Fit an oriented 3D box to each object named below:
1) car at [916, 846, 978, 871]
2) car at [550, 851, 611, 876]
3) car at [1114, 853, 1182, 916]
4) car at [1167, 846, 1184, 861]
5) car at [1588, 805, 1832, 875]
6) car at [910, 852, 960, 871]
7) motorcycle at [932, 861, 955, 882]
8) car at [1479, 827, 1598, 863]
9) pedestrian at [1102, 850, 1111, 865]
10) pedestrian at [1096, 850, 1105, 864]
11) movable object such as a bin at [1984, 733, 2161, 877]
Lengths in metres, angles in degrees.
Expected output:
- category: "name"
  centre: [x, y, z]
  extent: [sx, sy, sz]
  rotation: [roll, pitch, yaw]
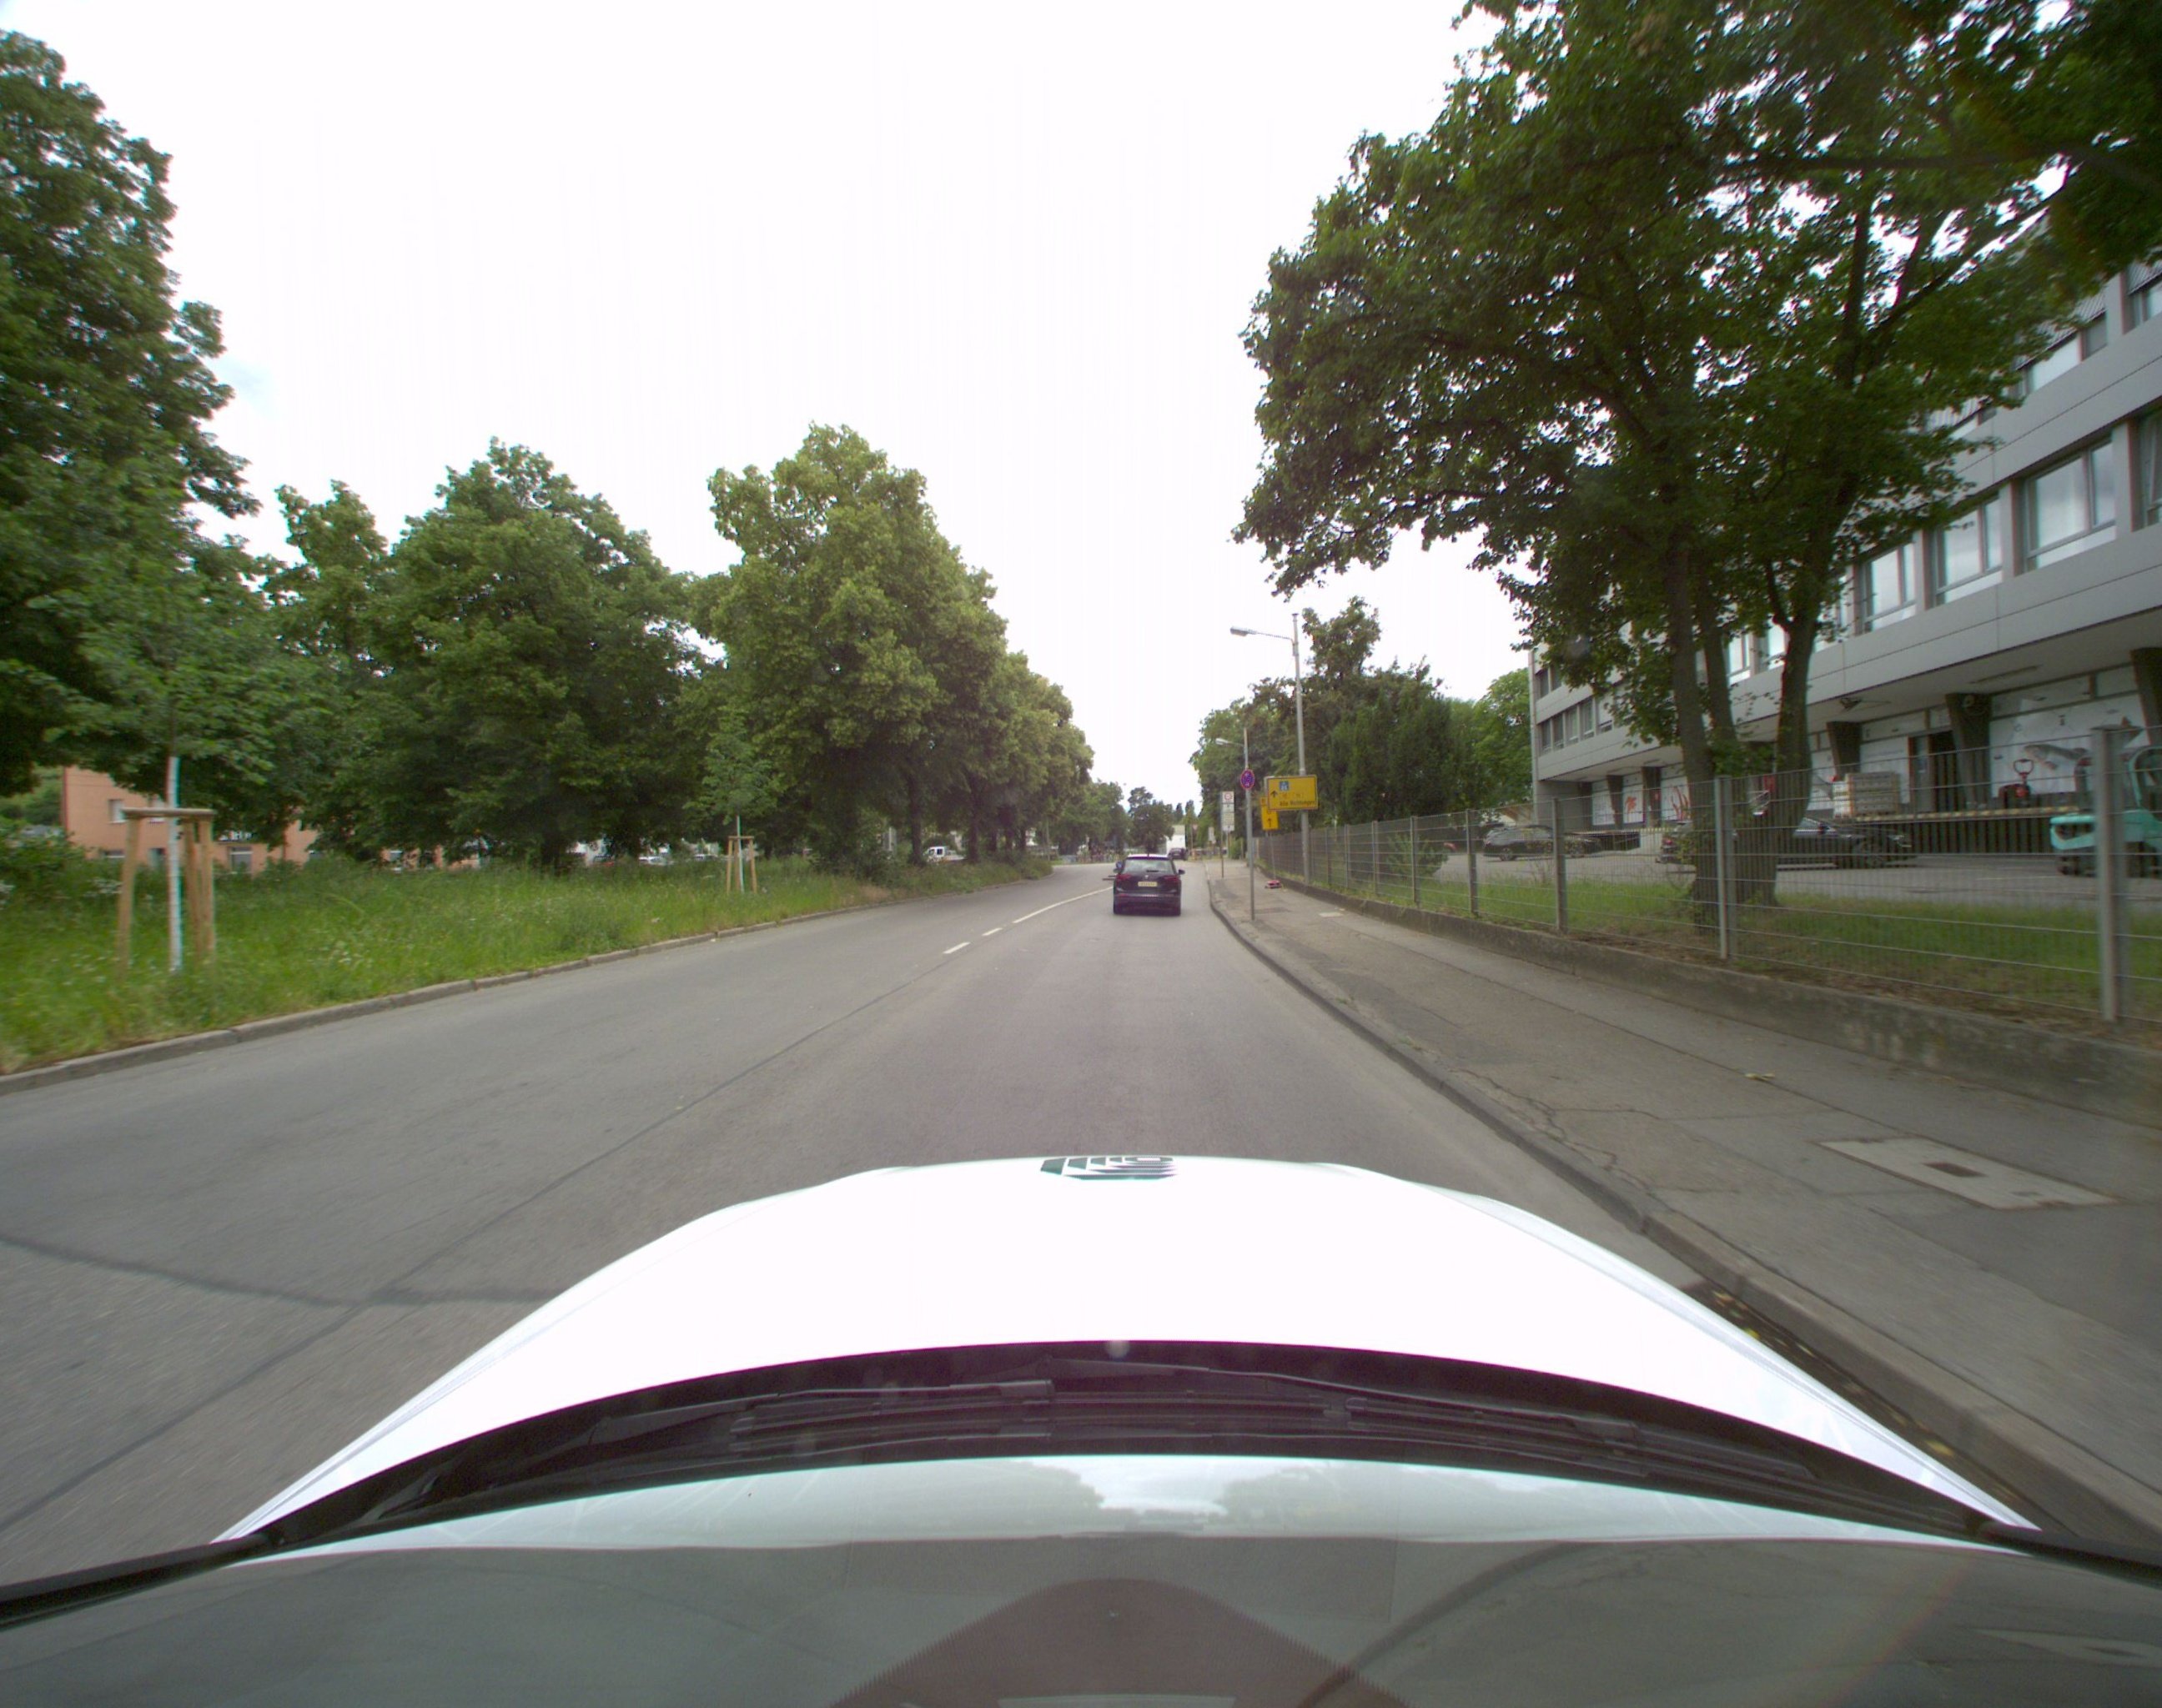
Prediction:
- category: "car"
  centre: [-14.030, 0.495, 85.547]
  extent: [6.048, 2.387, 2.395]
  rotation: [-2, 0, 1]
- category: "car"
  centre: [-28.957, 0.539, 47.212]
  extent: [1.551, 1.349, 2.882]
  rotation: [-2, 0, 4]
- category: "car"
  centre: [1.825, 0.788, 22.750]
  extent: [1.731, 1.618, 3.644]
  rotation: [0, 0, 3]
- category: "car"
  centre: [10.086, -0.049, 86.589]
  extent: [1.650, 1.574, 3.837]
  rotation: [-3, 0, 8]
- category: "car"
  centre: [16.015, -0.309, 20.952]
  extent: [2.011, 1.474, 4.636]
  rotation: [-2, -1, -42]
- category: "car"
  centre: [-15.992, 0.799, 89.344]
  extent: [4.944, 1.942, 2.055]
  rotation: [-2, 0, 12]
- category: "motorcycle"
  centre: [-8.132, 1.010, 48.200]
  extent: [0.562, 1.168, 2.042]
  rotation: [-2, 0, 11]
- category: "car"
  centre: [22.039, -0.438, 39.292]
  extent: [4.797, 1.534, 2.036]
  rotation: [-2, 0, 35]
- category: "pedestrian"
  centre: [3.084, 0.444, 98.634]
  extent: [0.731, 1.742, 0.735]
  rotation: [-2, 0, -42]
- category: "pedestrian"
  centre: [2.408, 0.373, 98.242]
  extent: [0.731, 1.742, 0.735]
  rotation: [-2, 0, -42]
- category: "movable object such as a bin"
  centre: [18.818, -0.866, 14.000]
  extent: [3.961, 2.305, 1.958]
  rotation: [-3, 0, 11]
